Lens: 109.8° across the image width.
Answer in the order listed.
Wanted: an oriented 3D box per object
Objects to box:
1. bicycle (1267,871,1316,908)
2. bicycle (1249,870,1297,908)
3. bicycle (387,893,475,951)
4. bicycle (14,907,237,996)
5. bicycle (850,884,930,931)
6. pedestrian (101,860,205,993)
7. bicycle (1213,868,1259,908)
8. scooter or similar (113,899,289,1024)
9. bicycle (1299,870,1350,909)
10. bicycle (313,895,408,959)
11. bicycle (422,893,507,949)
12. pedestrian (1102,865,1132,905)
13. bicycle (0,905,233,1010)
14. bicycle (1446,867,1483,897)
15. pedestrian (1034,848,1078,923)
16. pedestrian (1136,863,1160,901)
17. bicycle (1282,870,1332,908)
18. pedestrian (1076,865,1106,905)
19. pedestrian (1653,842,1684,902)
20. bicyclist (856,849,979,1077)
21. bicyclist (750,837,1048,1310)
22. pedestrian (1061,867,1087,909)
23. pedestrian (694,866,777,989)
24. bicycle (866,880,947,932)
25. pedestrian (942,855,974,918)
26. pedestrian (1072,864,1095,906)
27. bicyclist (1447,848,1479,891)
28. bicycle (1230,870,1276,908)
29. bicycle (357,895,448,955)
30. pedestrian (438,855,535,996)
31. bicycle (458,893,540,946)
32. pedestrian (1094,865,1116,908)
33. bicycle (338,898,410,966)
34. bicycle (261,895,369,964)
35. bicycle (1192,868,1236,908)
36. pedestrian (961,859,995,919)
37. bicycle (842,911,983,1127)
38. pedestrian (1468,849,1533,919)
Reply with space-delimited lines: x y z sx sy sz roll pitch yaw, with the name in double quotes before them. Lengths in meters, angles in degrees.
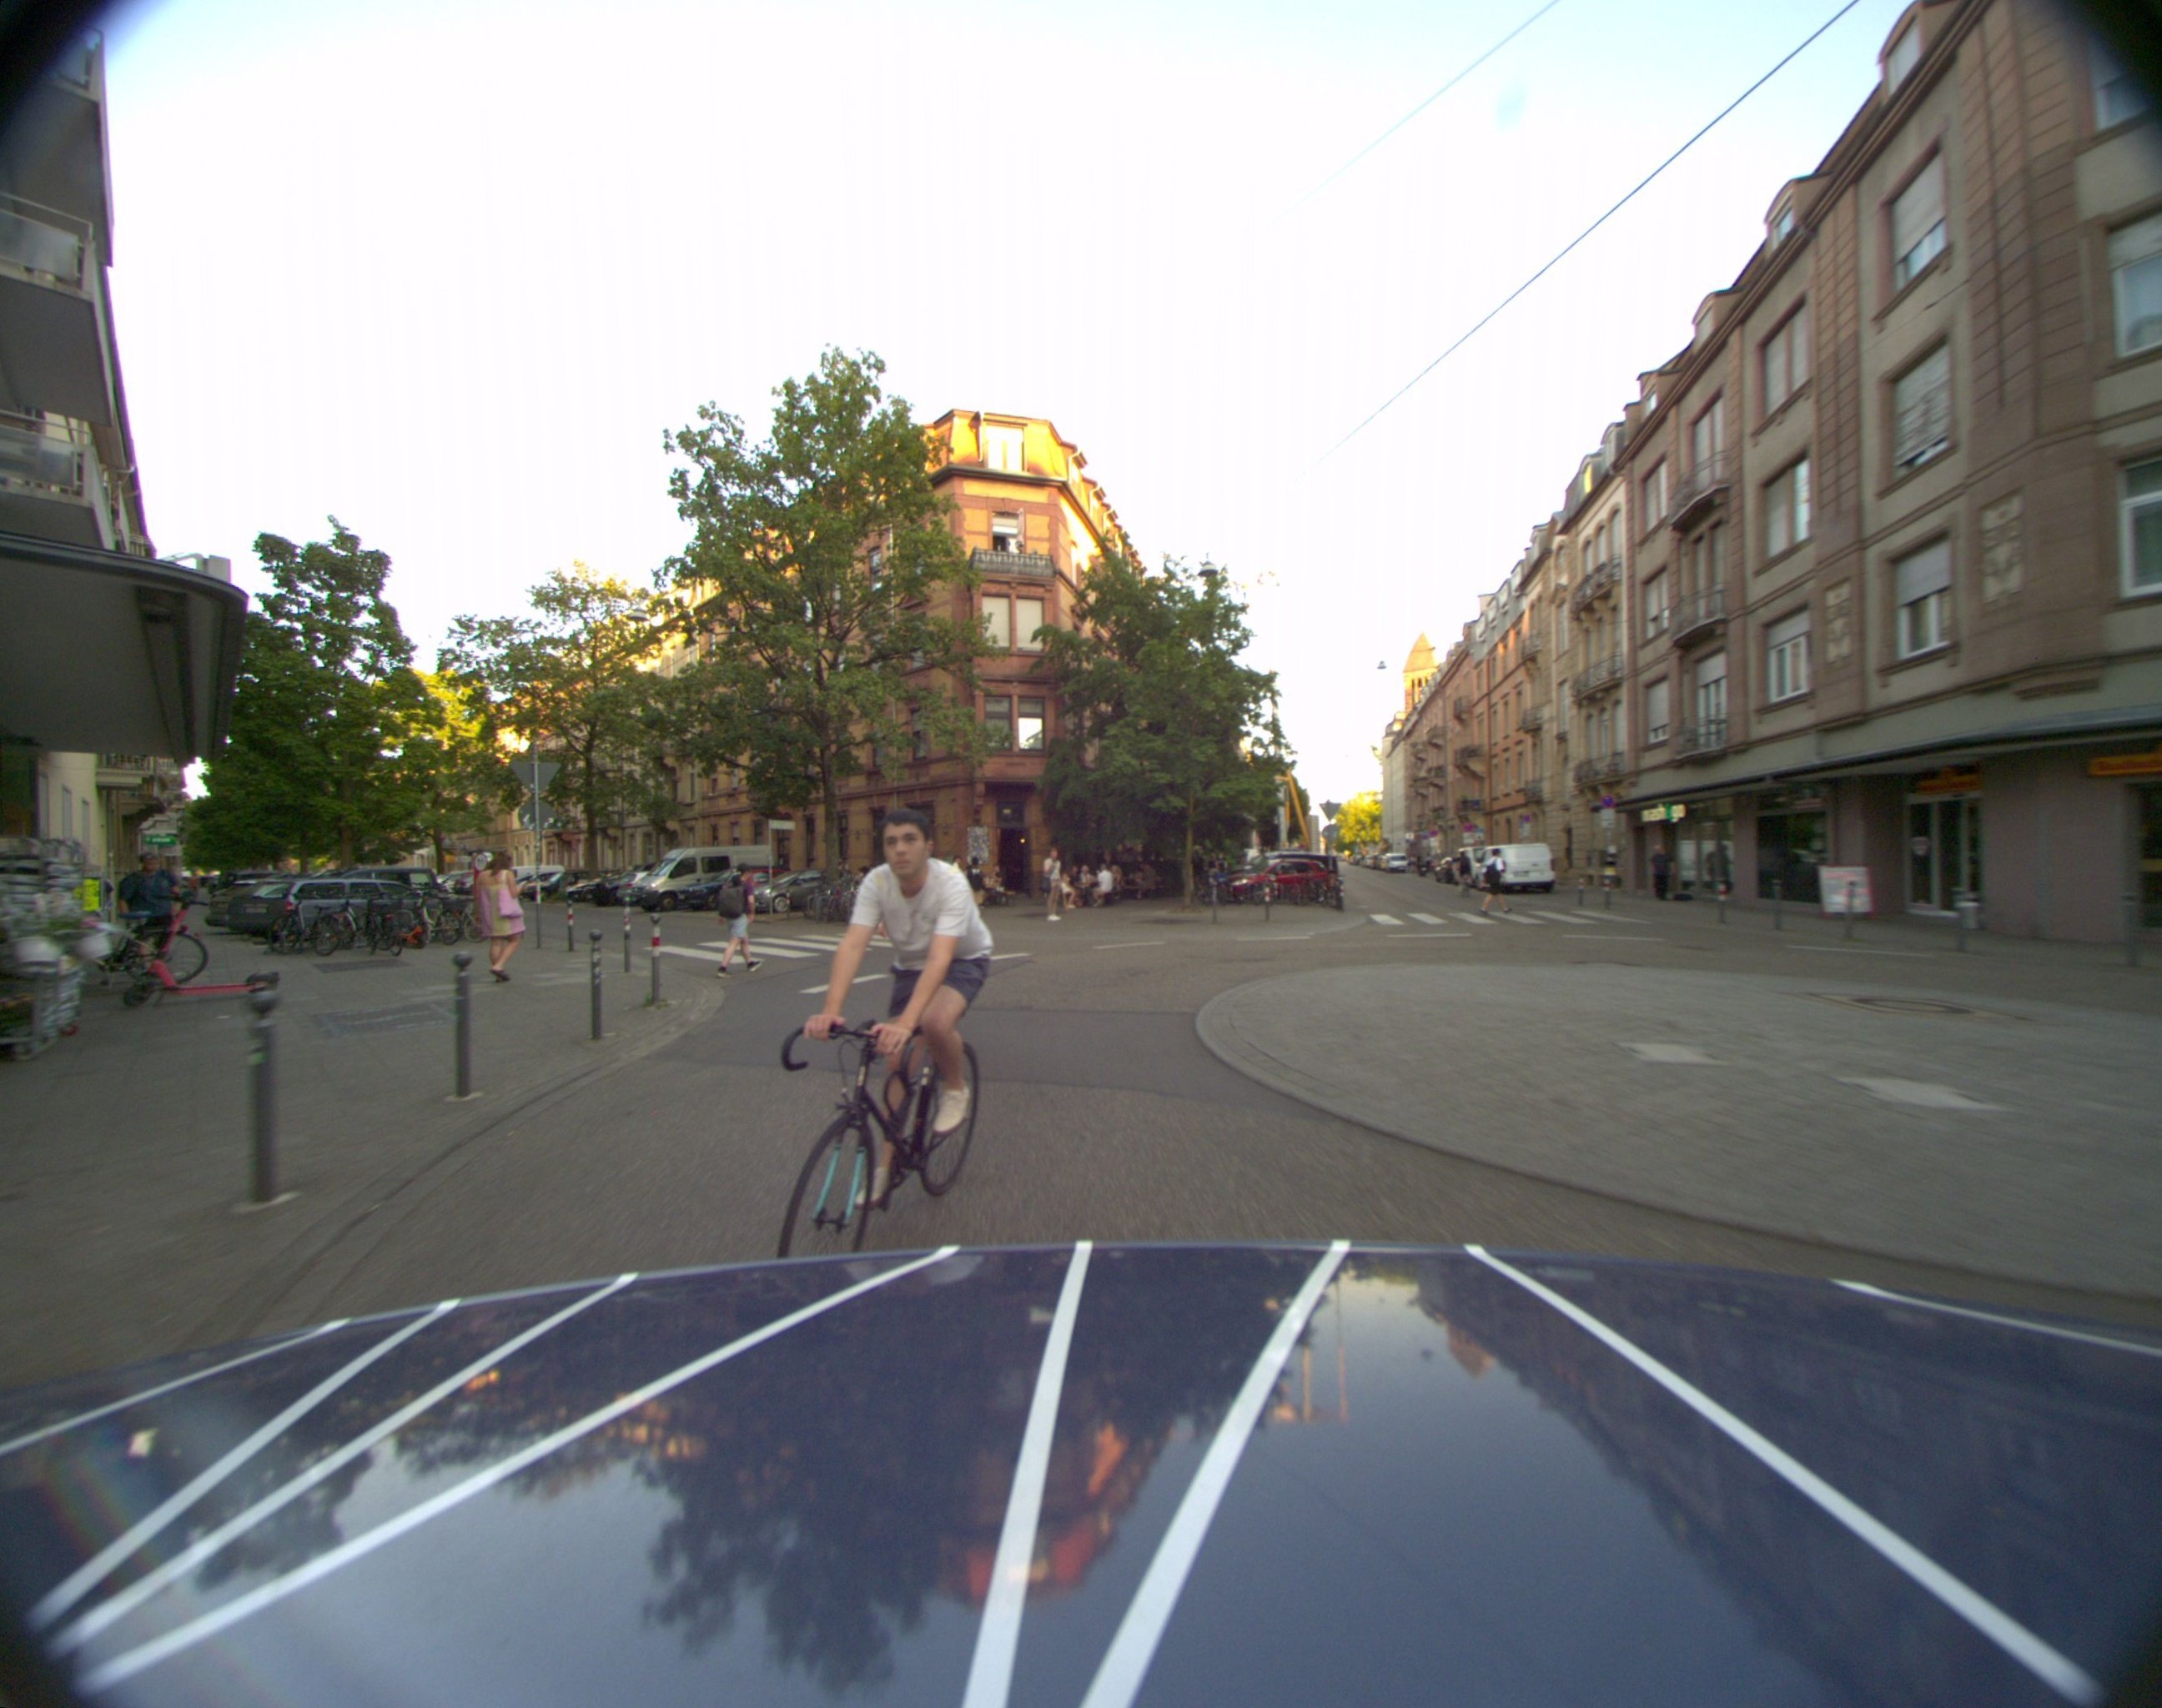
"bicycle" 6.881 1.141 24.971 0.666 1.125 2.114 1 0 -10
"bicycle" 6.232 1.126 24.809 0.666 1.125 2.114 1 0 -10
"bicycle" -13.165 1.362 15.383 1.779 1.076 0.571 0 0 21
"bicycle" -12.851 1.285 10.305 1.787 1.050 0.568 1 -1 -32
"bicycle" -4.951 1.356 19.819 0.710 1.045 1.888 -1 1 44
"pedestrian" -12.538 0.937 10.294 0.766 1.706 0.862 0 0 40
"bicycle" 4.975 1.076 24.518 0.666 1.158 2.114 1 0 -10
"scooter or similar" -9.743 1.146 8.456 0.414 1.225 1.235 0 -1 33
"bicycle" 7.987 1.145 24.991 0.666 1.162 2.114 1 0 -10
"bicycle" -13.444 1.338 14.176 1.779 1.076 0.571 0 0 21
"bicycle" -12.953 1.376 15.951 1.779 1.076 0.571 0 0 21
"pedestrian" 1.173 1.008 24.824 0.676 1.265 0.639 -3 2 -34
"bicycle" -11.752 1.218 9.261 1.787 1.119 0.608 1 -1 -32
"bicycle" 14.790 1.065 29.341 0.753 1.124 1.978 -1 -1 11
"pedestrian" -0.640 0.786 19.427 0.673 1.858 0.912 -1 1 31
"pedestrian" 2.303 0.952 26.178 0.721 1.297 0.751 -1 0 -3
"bicycle" 7.482 1.138 25.278 0.666 1.162 2.114 1 0 -10
"pedestrian" 0.335 1.002 24.866 0.673 1.265 0.642 -1 2 43
"pedestrian" 17.718 0.548 22.912 0.654 1.768 0.693 -2 -1 35
"bicyclist" -1.211 0.763 5.752 0.794 1.562 0.826 -2 -1 -9
"bicyclist" -0.634 0.695 2.947 0.649 1.500 0.954 -2 1 19
"pedestrian" -0.212 1.039 23.498 0.675 1.265 0.640 -2 1 -10
"pedestrian" -4.733 0.968 10.439 0.537 1.597 0.870 0 -1 29
"bicycle" -4.421 1.293 19.348 0.710 1.148 1.888 -1 1 44
"pedestrian" -3.529 0.922 21.810 0.674 1.735 0.641 -2 1 8
"pedestrian" 0.094 0.981 24.056 0.674 1.265 0.640 -2 1 2
"bicyclist" 14.798 0.590 29.457 0.753 1.630 1.202 -1 0 11
"bicycle" 5.559 1.102 24.640 0.666 1.125 2.114 1 0 -10
"bicycle" -13.165 1.355 14.744 1.779 1.076 0.571 0 0 21
"pedestrian" -7.593 0.891 9.736 0.693 1.735 0.712 0 -1 -5
"bicycle" -12.699 1.407 16.561 1.779 1.076 0.571 0 0 21
"pedestrian" 0.754 1.007 23.524 0.640 1.265 0.675 -2 1 3
"bicycle" -12.441 1.336 13.352 1.779 1.076 0.571 -1 -1 35
"bicycle" -13.531 1.310 13.429 1.779 1.105 0.684 0 0 21
"bicycle" 4.251 1.059 24.413 0.666 1.158 2.114 1 0 -10
"pedestrian" -2.899 0.972 21.386 0.642 1.628 0.673 -3 2 -37
"bicycle" -1.202 1.073 5.746 0.794 1.132 2.341 -2 -1 -9
"pedestrian" 10.801 0.757 19.567 1.213 1.733 0.748 -2 0 -8
